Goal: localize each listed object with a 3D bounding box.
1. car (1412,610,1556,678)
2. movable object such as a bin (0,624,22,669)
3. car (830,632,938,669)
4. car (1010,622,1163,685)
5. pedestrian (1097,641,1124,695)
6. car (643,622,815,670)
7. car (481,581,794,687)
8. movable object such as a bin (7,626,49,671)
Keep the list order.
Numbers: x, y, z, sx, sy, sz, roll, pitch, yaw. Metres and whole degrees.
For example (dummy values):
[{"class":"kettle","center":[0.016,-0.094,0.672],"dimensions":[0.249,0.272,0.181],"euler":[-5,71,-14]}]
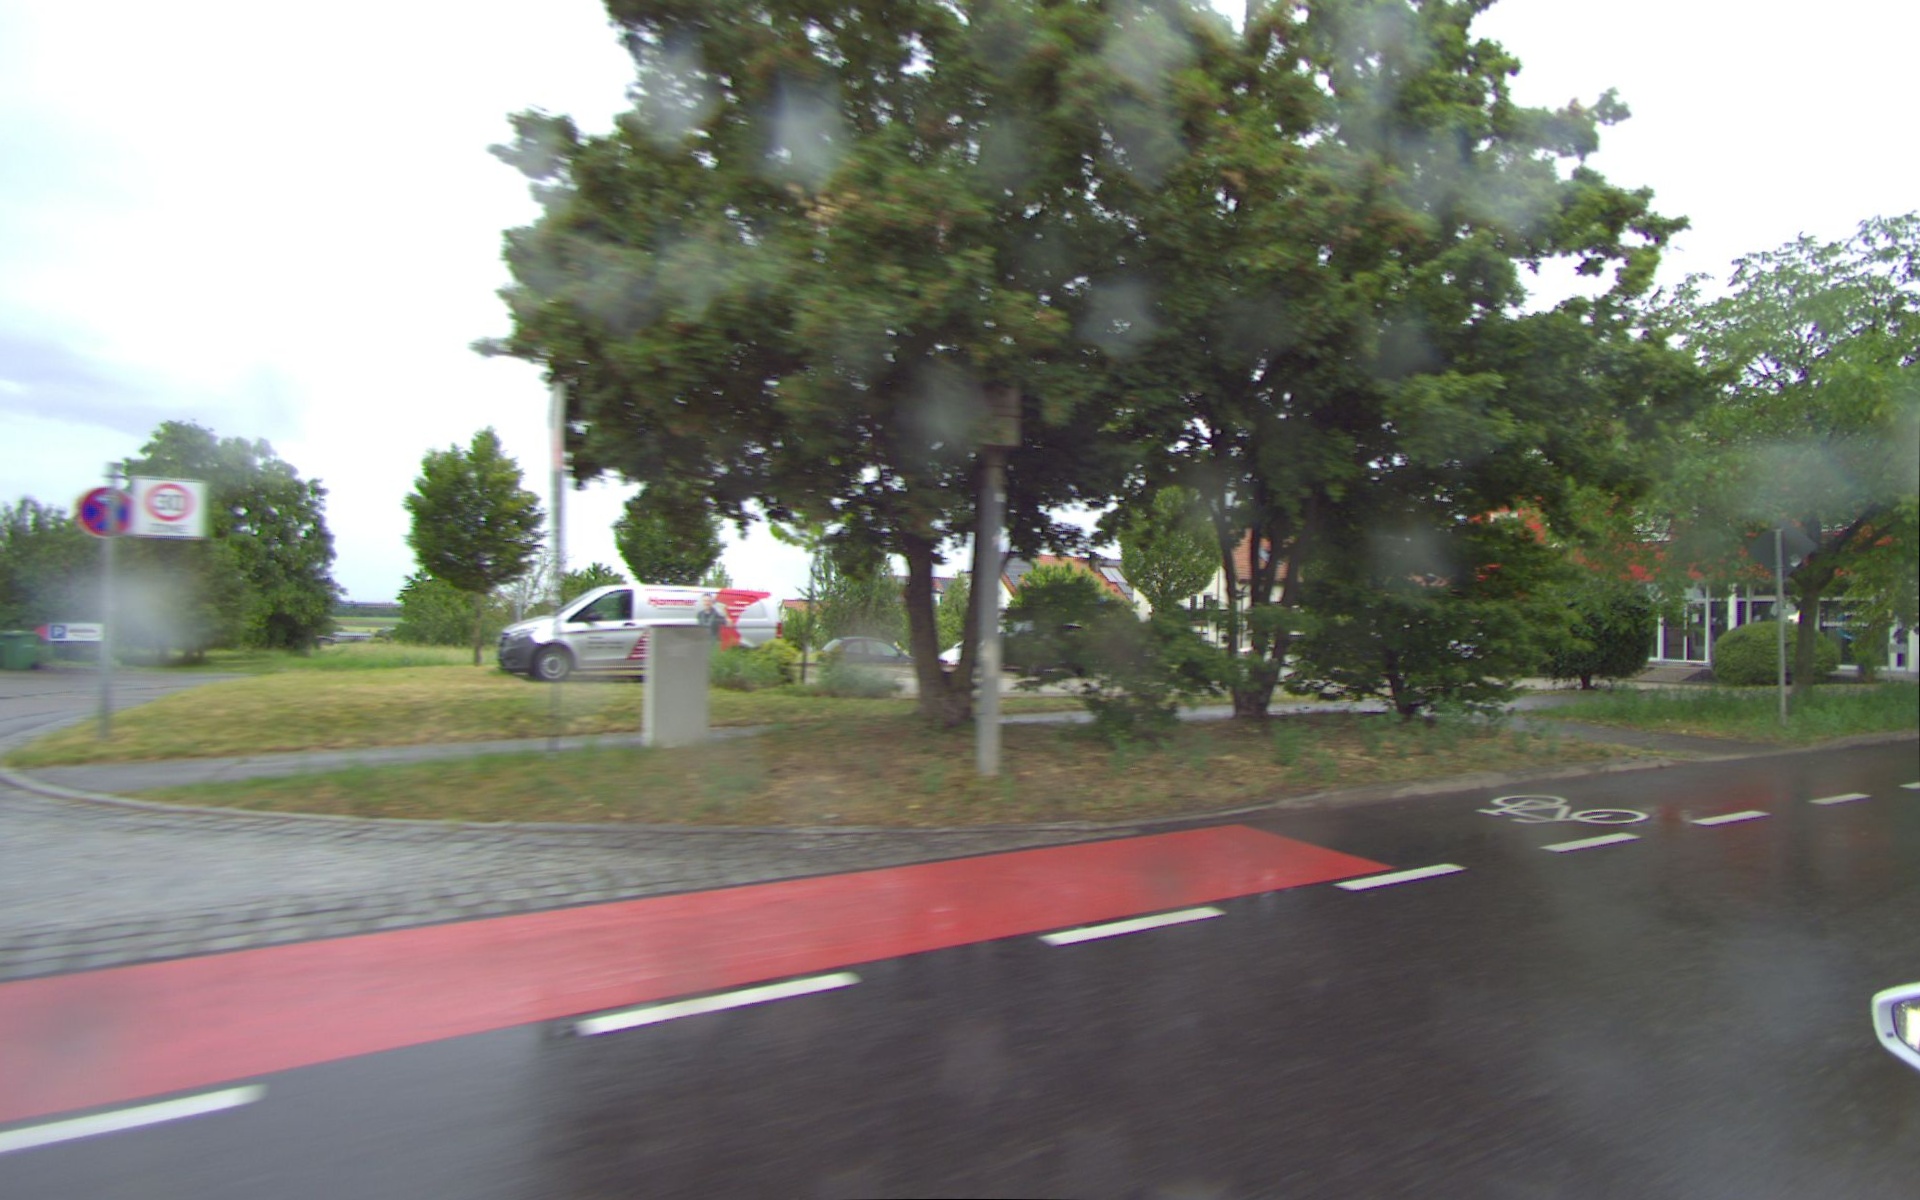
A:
[{"class":"car","center":[19.861,1.586,38.285],"dimensions":[2.155,2.341,4.463],"euler":[1,0,-25]},{"class":"movable object such as a bin","center":[-27.290,1.328,28.550],"dimensions":[0.749,1.233,0.630],"euler":[1,1,20]},{"class":"car","center":[-2.373,1.565,31.563],"dimensions":[3.134,1.038,1.347],"euler":[1,0,-30]},{"class":"car","center":[3.638,1.450,28.608],"dimensions":[4.133,1.577,2.096],"euler":[1,0,-40]},{"class":"pedestrian","center":[5.472,2.461,36.505],"dimensions":[0.672,1.861,0.764],"euler":[1,1,31]},{"class":"car","center":[-6.780,1.308,29.575],"dimensions":[4.601,1.246,1.972],"euler":[1,0,-30]},{"class":"car","center":[-6.259,0.605,19.777],"dimensions":[5.546,1.847,2.023],"euler":[1,0,-32]},{"class":"movable object such as a bin","center":[-26.179,1.355,28.209],"dimensions":[0.652,1.233,0.630],"euler":[1,1,20]}]
